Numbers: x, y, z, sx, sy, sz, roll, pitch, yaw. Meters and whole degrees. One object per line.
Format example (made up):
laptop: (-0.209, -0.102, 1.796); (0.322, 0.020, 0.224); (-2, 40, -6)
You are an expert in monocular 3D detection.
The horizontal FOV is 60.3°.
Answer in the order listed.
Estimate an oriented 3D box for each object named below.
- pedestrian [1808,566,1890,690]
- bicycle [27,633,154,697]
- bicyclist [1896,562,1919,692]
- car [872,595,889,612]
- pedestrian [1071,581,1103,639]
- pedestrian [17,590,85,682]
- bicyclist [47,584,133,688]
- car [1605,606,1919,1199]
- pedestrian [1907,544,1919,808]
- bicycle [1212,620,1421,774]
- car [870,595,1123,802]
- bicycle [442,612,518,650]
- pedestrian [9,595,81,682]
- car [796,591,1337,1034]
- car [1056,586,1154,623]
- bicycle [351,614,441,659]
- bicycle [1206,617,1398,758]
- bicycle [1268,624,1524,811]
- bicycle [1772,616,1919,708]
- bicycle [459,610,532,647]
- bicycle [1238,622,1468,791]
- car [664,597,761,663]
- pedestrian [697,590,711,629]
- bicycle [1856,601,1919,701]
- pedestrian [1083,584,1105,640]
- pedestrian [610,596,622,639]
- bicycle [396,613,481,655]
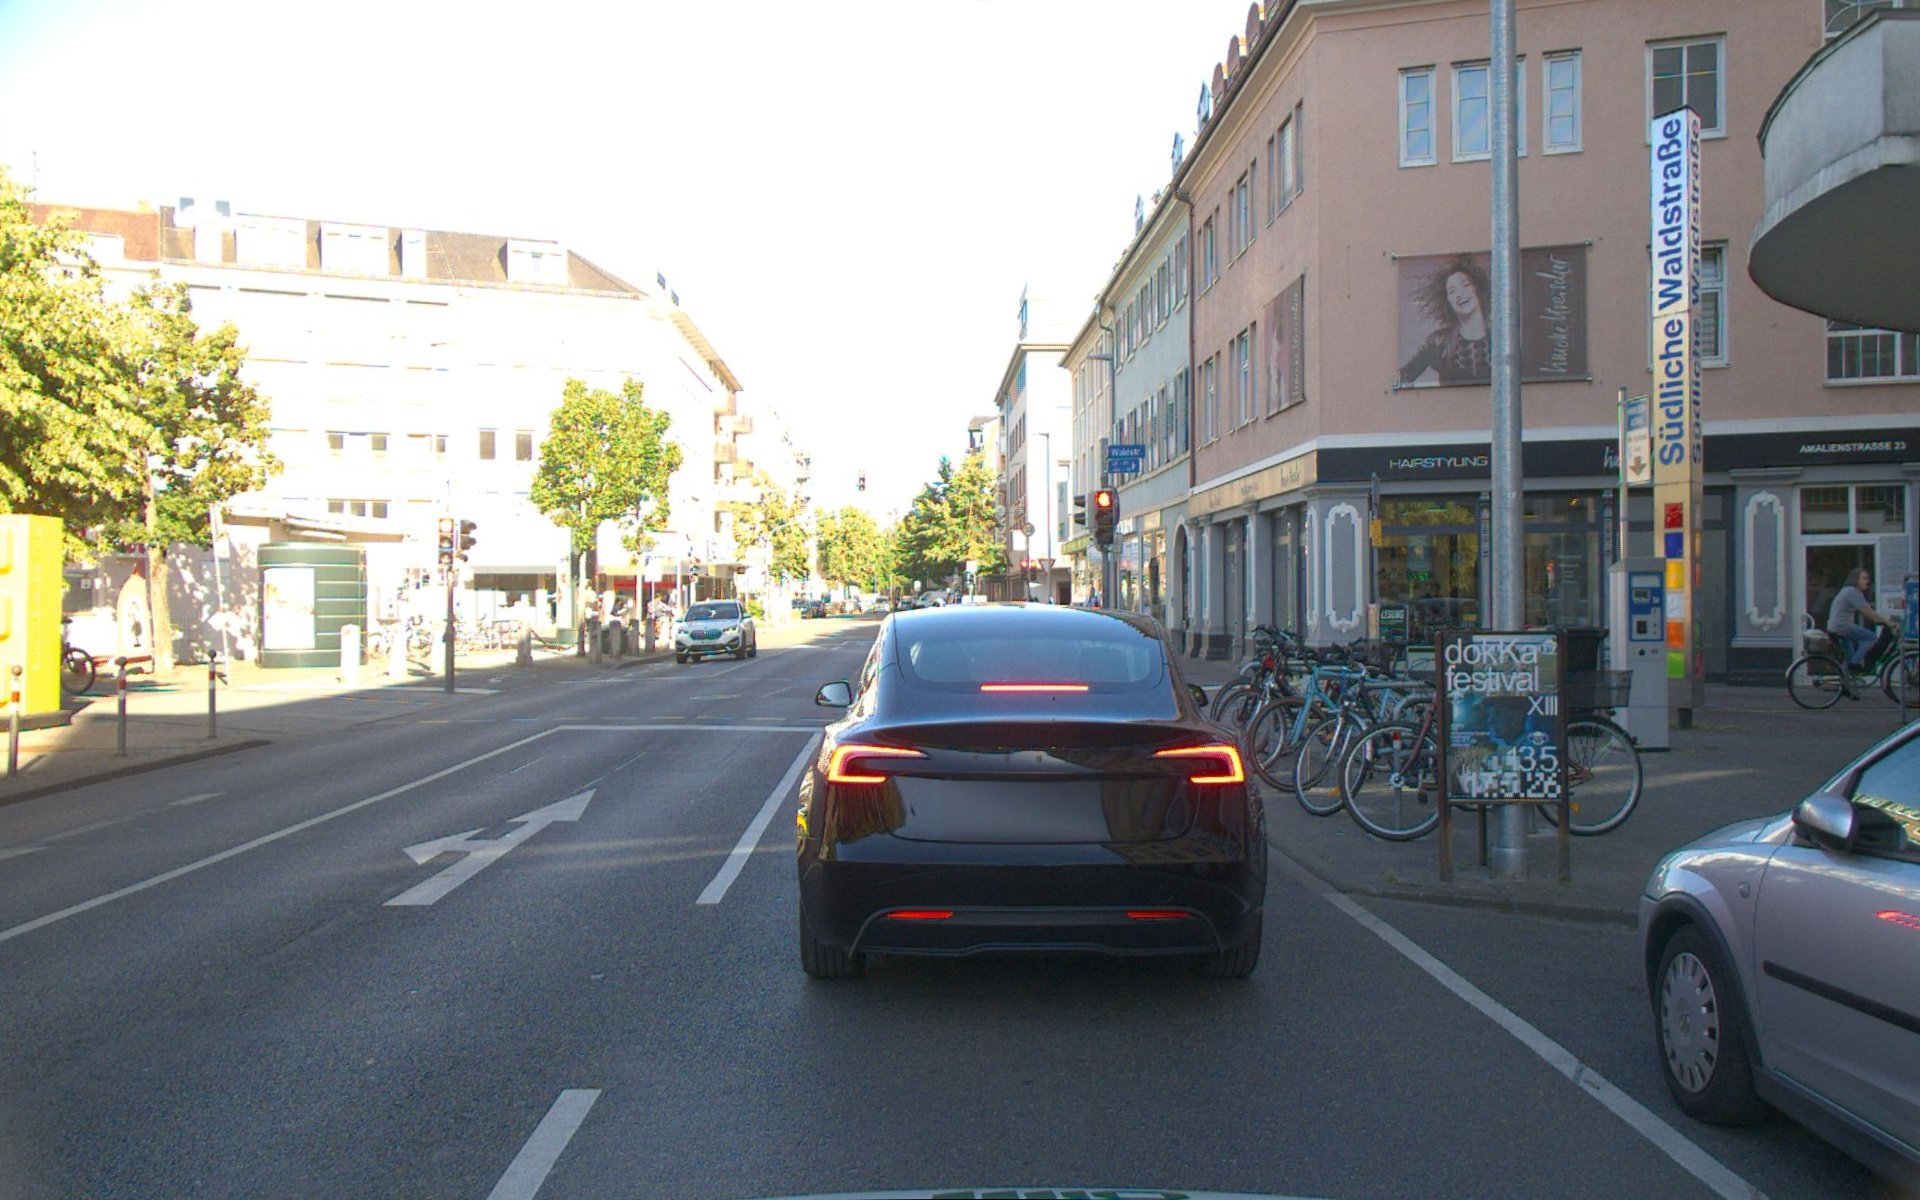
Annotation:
pedestrian: (10.734, 0.332, 19.990); (0.727, 1.466, 0.583); (1, -1, 12)
bicycle: (-14.274, 1.059, 27.168); (1.823, 0.962, 0.629); (1, 0, 10)
bicyclist: (12.423, 0.338, 20.741); (1.074, 1.617, 0.629); (0, 0, 15)
car: (-8.528, 0.395, 178.492); (1.793, 1.754, 3.998); (0, 0, -2)
pedestrian: (4.169, 0.320, 54.448); (0.979, 1.883, 0.615); (0, 0, -1)
pedestrian: (-17.586, 0.694, 32.016); (0.882, 1.755, 0.744); (0, 0, 3)
bicyclist: (-14.297, 0.576, 27.182); (1.096, 1.683, 0.629); (0, 0, 10)
car: (2.913, 0.734, 3.499); (1.588, 1.419, 3.886); (0, 0, 0)
pedestrian: (6.457, 0.460, 10.467); (0.652, 1.661, 0.624); (-3, -1, 39)
bicycle: (2.927, 0.788, 13.631); (1.595, 1.180, 0.432); (-2, 0, -2)
car: (0.263, 0.701, 13.744); (1.812, 1.480, 3.786); (0, 0, 0)
bicycle: (-14.438, 0.936, 49.747); (2.040, 1.123, 0.806); (0, 0, -1)
pedestrian: (-17.757, 0.735, 32.115); (0.966, 1.665, 0.737); (0, 0, 3)
car: (0.359, 0.709, 7.434); (1.812, 1.480, 3.786); (0, 0, 0)
car: (7.075, 0.210, 80.373); (4.539, 1.757, 2.058); (0, 0, 12)
bicycle: (-14.462, 0.930, 42.452); (2.040, 1.123, 0.806); (0, 0, -1)
bicycle: (3.045, 0.775, 14.800); (1.594, 1.180, 0.433); (-2, 0, 0)
bicycle: (2.955, 0.786, 11.275); (1.595, 1.180, 0.432); (-2, 0, -2)
bicycle: (10.748, 0.738, 19.976); (1.581, 1.063, 0.591); (1, 0, 12)
bicycle: (-14.581, 0.895, 51.939); (2.040, 1.123, 0.806); (0, 0, -1)
bicycle: (2.937, 0.789, 12.413); (1.595, 1.180, 0.432); (-2, 0, -2)
car: (-6.533, 0.762, 44.120); (1.953, 1.567, 3.999); (-3, 0, -1)
pedestrian: (-13.556, 0.497, 87.537); (0.613, 2.049, 0.707); (0, 0, -1)
bicycle: (12.498, 0.609, 20.733); (2.080, 1.221, 0.629); (-3, -1, 15)
pedestrian: (4.417, 0.397, 54.473); (0.689, 1.814, 0.533); (0, 0, -1)
pedestrian: (-12.950, 0.653, 62.266); (0.378, 1.619, 0.705); (0, 0, -5)
bicycle: (-14.169, 0.918, 44.977); (2.040, 1.123, 0.806); (0, 0, -1)
